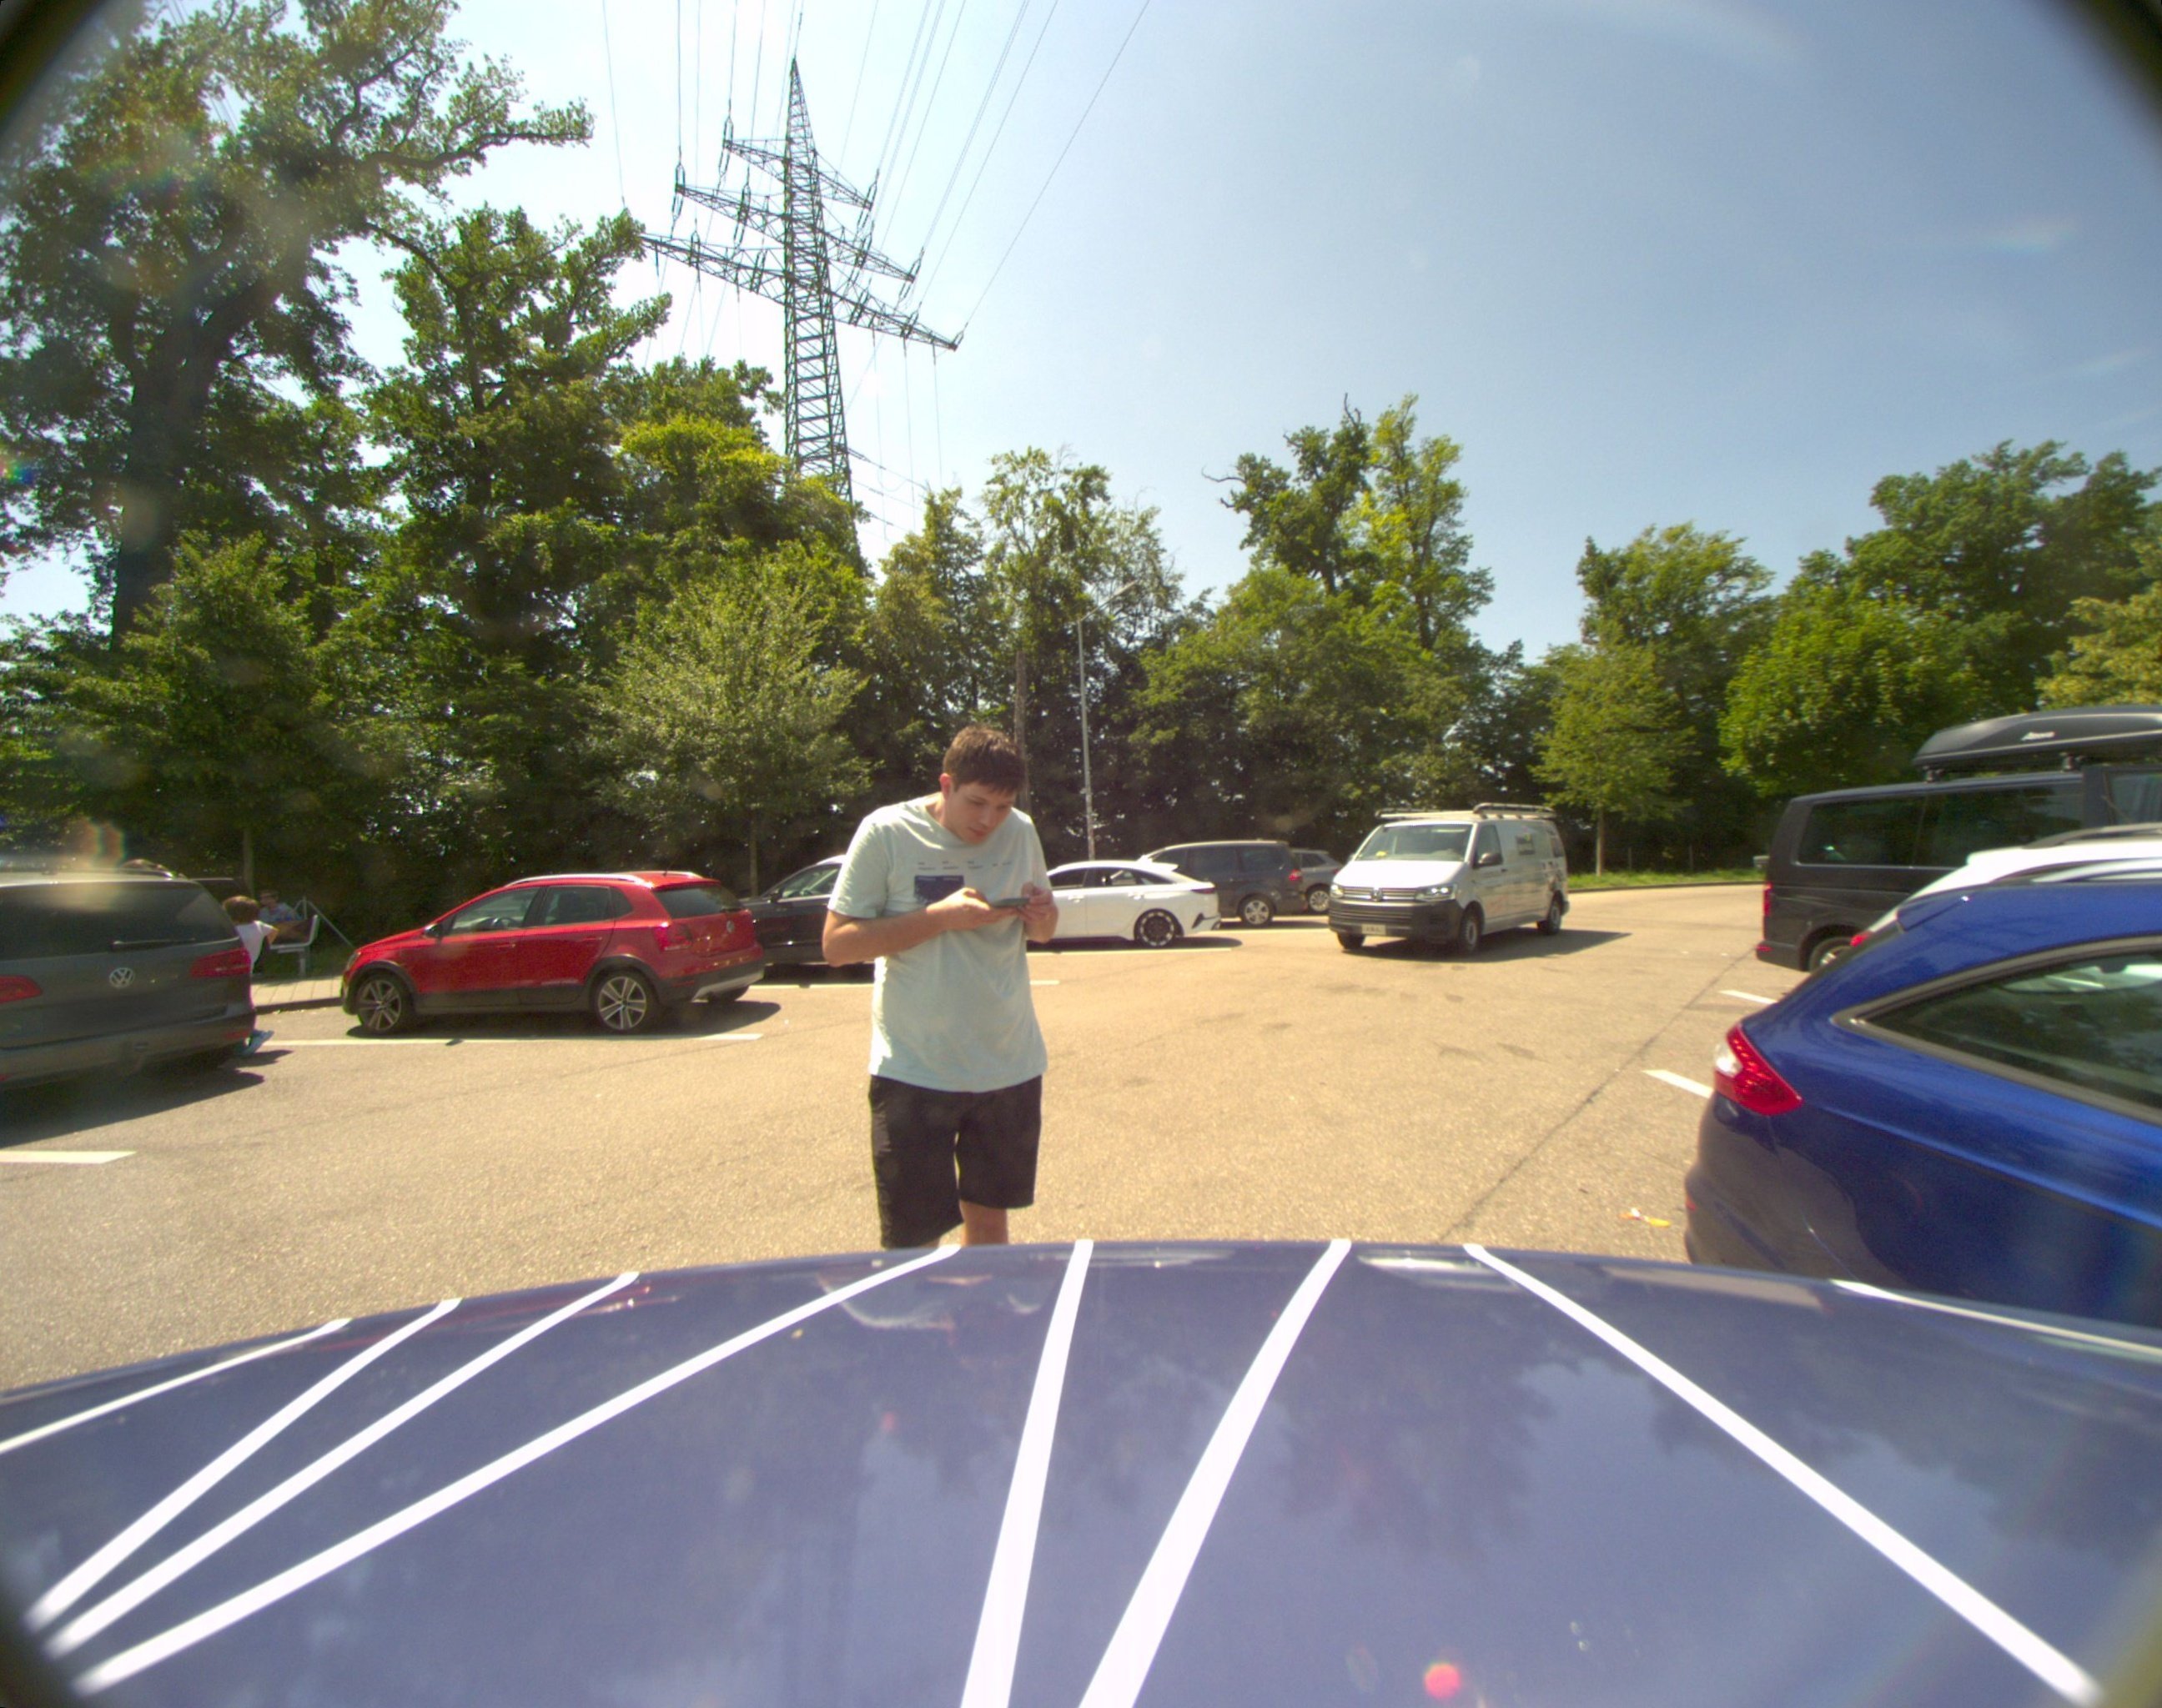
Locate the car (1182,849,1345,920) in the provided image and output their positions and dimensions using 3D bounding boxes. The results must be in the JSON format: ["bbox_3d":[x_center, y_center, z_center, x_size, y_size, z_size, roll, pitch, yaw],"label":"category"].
[{"bbox_3d":[4.237,0.696,18.125,3.585,1.493,1.707,-2,1,8],"label":"car"}]

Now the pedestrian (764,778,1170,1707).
[{"bbox_3d":[-0.294,0.766,1.880,0.741,1.818,0.613,-2,0,-34],"label":"pedestrian"}]

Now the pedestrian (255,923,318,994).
[{"bbox_3d":[-10.919,1.419,10.457,0.503,0.874,0.512,-3,1,-39],"label":"pedestrian"}]

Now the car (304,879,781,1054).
[{"bbox_3d":[-5.230,1.065,7.640,3.745,1.458,1.621,-2,0,7],"label":"car"}]

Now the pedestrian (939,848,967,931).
[{"bbox_3d":[-3.068,0.834,18.152,0.573,1.942,0.430,-2,0,-11],"label":"pedestrian"}]

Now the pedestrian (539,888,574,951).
[{"bbox_3d":[-10.114,1.255,14.652,0.366,1.186,0.356,-2,1,21],"label":"pedestrian"}]

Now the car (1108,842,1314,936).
[{"bbox_3d":[2.543,0.672,15.449,3.850,1.678,1.755,-2,0,4],"label":"car"}]

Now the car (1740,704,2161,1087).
[{"bbox_3d":[7.325,0.235,5.205,1.788,2.304,4.084,-2,0,-5],"label":"car"}]

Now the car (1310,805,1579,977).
[{"bbox_3d":[5.842,0.416,11.777,5.445,2.092,1.839,-1,1,-43],"label":"car"}]

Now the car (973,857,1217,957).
[{"bbox_3d":[0.270,0.845,12.825,3.773,1.445,1.848,-2,0,4],"label":"car"}]

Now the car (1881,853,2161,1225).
[{"bbox_3d":[4.679,0.684,2.246,1.344,1.352,3.114,-2,0,1],"label":"car"}]

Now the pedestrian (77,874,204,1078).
[{"bbox_3d":[-8.306,1.047,6.725,0.436,1.712,0.511,-2,1,17],"label":"pedestrian"}]

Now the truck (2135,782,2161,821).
[{"bbox_3d":[40.190,-1.962,27.039,1.168,1.367,2.882,-2,-1,-19],"label":"truck"}]

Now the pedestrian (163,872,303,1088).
[{"bbox_3d":[-7.194,1.032,6.464,0.481,1.712,0.589,-2,1,22],"label":"pedestrian"}]

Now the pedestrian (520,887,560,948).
[{"bbox_3d":[-10.973,1.281,15.406,0.413,1.186,0.443,-2,1,12],"label":"pedestrian"}]

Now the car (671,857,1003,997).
[{"bbox_3d":[-3.114,0.912,10.262,3.866,1.607,1.709,-2,0,0],"label":"car"}]

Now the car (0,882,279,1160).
[{"bbox_3d":[-8.336,1.100,5.409,3.903,1.607,1.705,-2,1,11],"label":"car"}]
